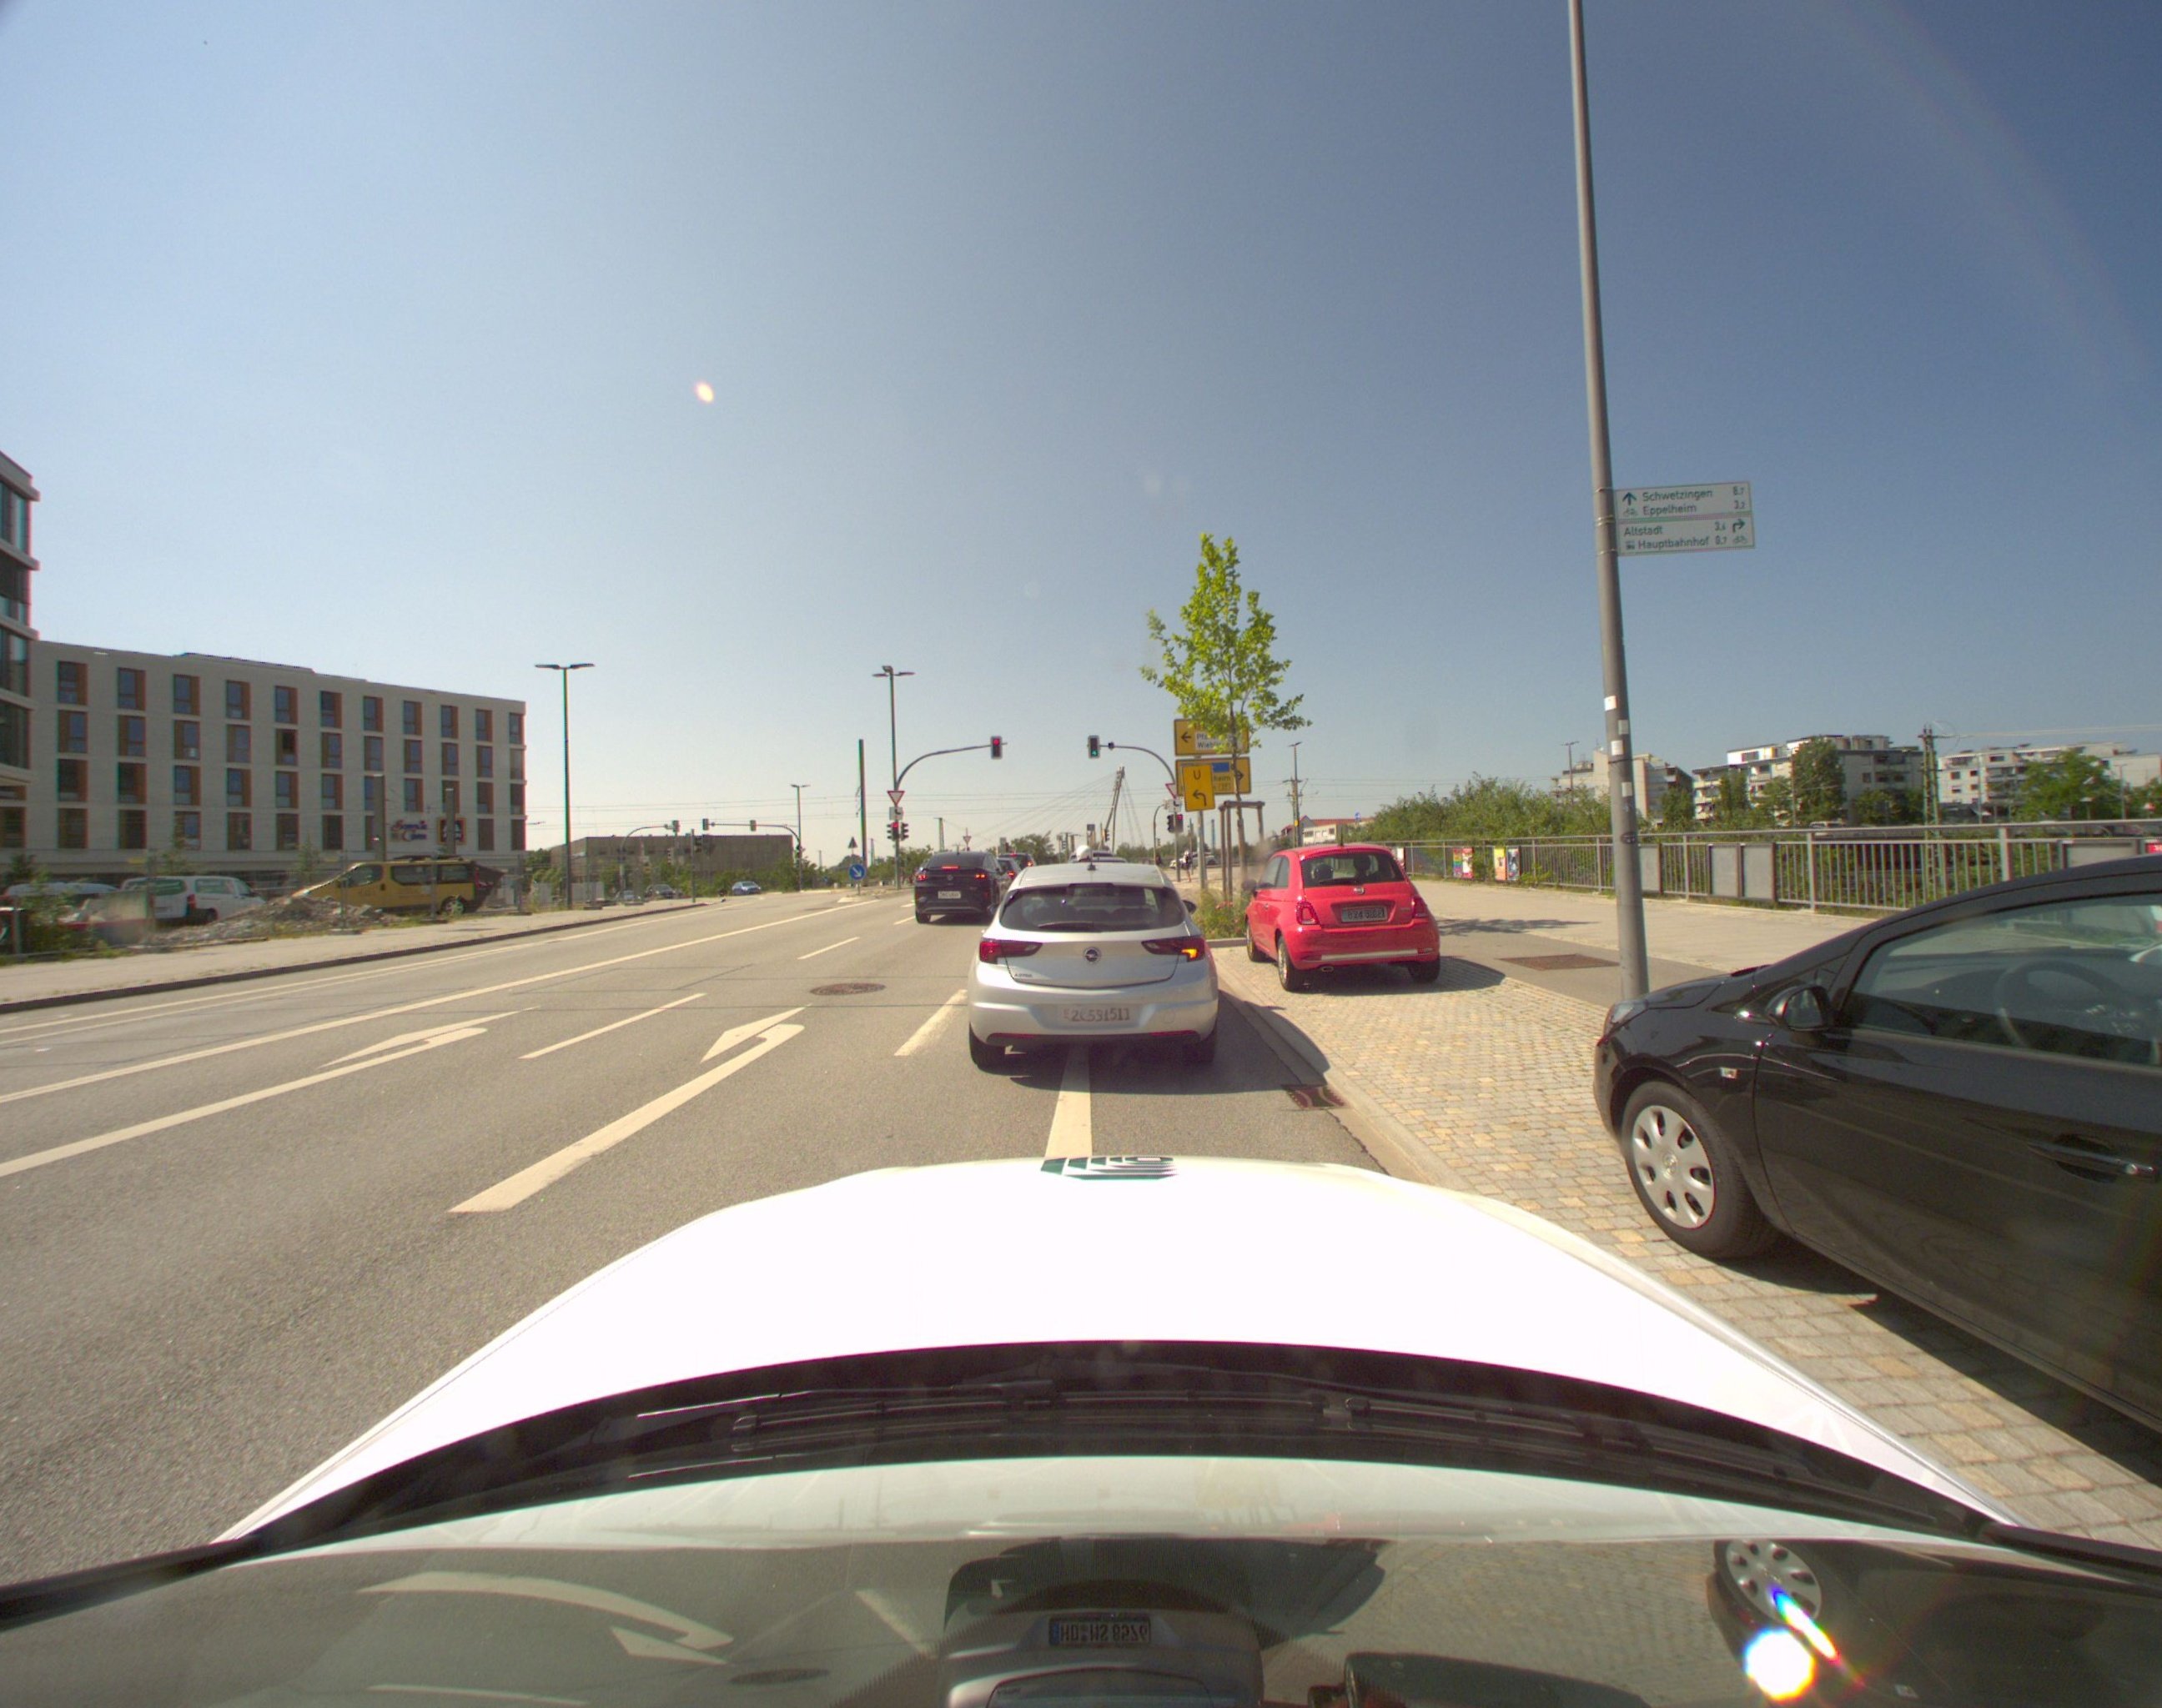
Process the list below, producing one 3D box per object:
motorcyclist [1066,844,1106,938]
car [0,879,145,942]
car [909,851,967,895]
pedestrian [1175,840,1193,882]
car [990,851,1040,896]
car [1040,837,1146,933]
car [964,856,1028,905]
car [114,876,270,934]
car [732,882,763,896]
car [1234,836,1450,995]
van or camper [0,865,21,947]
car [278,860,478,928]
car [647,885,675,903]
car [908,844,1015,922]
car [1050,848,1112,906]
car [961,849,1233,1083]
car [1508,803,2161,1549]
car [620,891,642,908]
[{"bbox_3d":[0.083,0.549,12.378,0.579,1.389,0.707,0,-1,1],"label":"motorcyclist"},{"bbox_3d":[-33.686,1.808,27.188,1.794,1.857,3.819,0,-1,-25],"label":"car"},{"bbox_3d":[-5.423,0.701,31.244,1.592,1.547,3.761,0,-1,0],"label":"car"},{"bbox_3d":[4.725,0.322,37.489,0.645,1.836,0.798,-3,-1,0],"label":"pedestrian"},{"bbox_3d":[-2.504,0.735,31.765,1.644,1.615,3.819,0,-1,0],"label":"car"},{"bbox_3d":[0.300,0.570,17.688,1.986,1.820,4.404,0,0,2],"label":"car"},{"bbox_3d":[-2.616,0.796,25.826,1.569,1.434,3.786,0,-1,1],"label":"car"},{"bbox_3d":[-31.054,1.703,28.659,1.873,1.774,4.619,0,-1,-22],"label":"car"},{"bbox_3d":[-33.213,3.505,81.039,1.831,1.331,3.954,0,-2,-38],"label":"car"},{"bbox_3d":[2.912,0.609,9.803,1.603,1.496,3.355,-4,0,3],"label":"car"},{"bbox_3d":[-36.480,1.732,25.304,2.318,2.735,4.944,0,-1,-26],"label":"van or camper"},{"bbox_3d":[-22.677,1.203,26.421,1.964,1.962,4.655,-1,-1,40],"label":"car"},{"bbox_3d":[-38.594,3.656,74.820,1.686,1.476,3.368,-2,0,-37],"label":"car"},{"bbox_3d":[-2.727,0.637,19.616,1.795,1.641,4.367,0,-1,2],"label":"car"},{"bbox_3d":[0.073,0.618,24.556,1.717,1.563,4.002,0,1,2],"label":"car"},{"bbox_3d":[0.086,0.729,7.223,1.738,1.478,3.998,0,-1,-1],"label":"car"},{"bbox_3d":[2.881,0.583,1.923,1.654,1.426,4.001,-4,-1,1],"label":"car"},{"bbox_3d":[-45.343,4.573,82.084,1.578,1.587,3.441,0,-1,-35],"label":"car"}]
